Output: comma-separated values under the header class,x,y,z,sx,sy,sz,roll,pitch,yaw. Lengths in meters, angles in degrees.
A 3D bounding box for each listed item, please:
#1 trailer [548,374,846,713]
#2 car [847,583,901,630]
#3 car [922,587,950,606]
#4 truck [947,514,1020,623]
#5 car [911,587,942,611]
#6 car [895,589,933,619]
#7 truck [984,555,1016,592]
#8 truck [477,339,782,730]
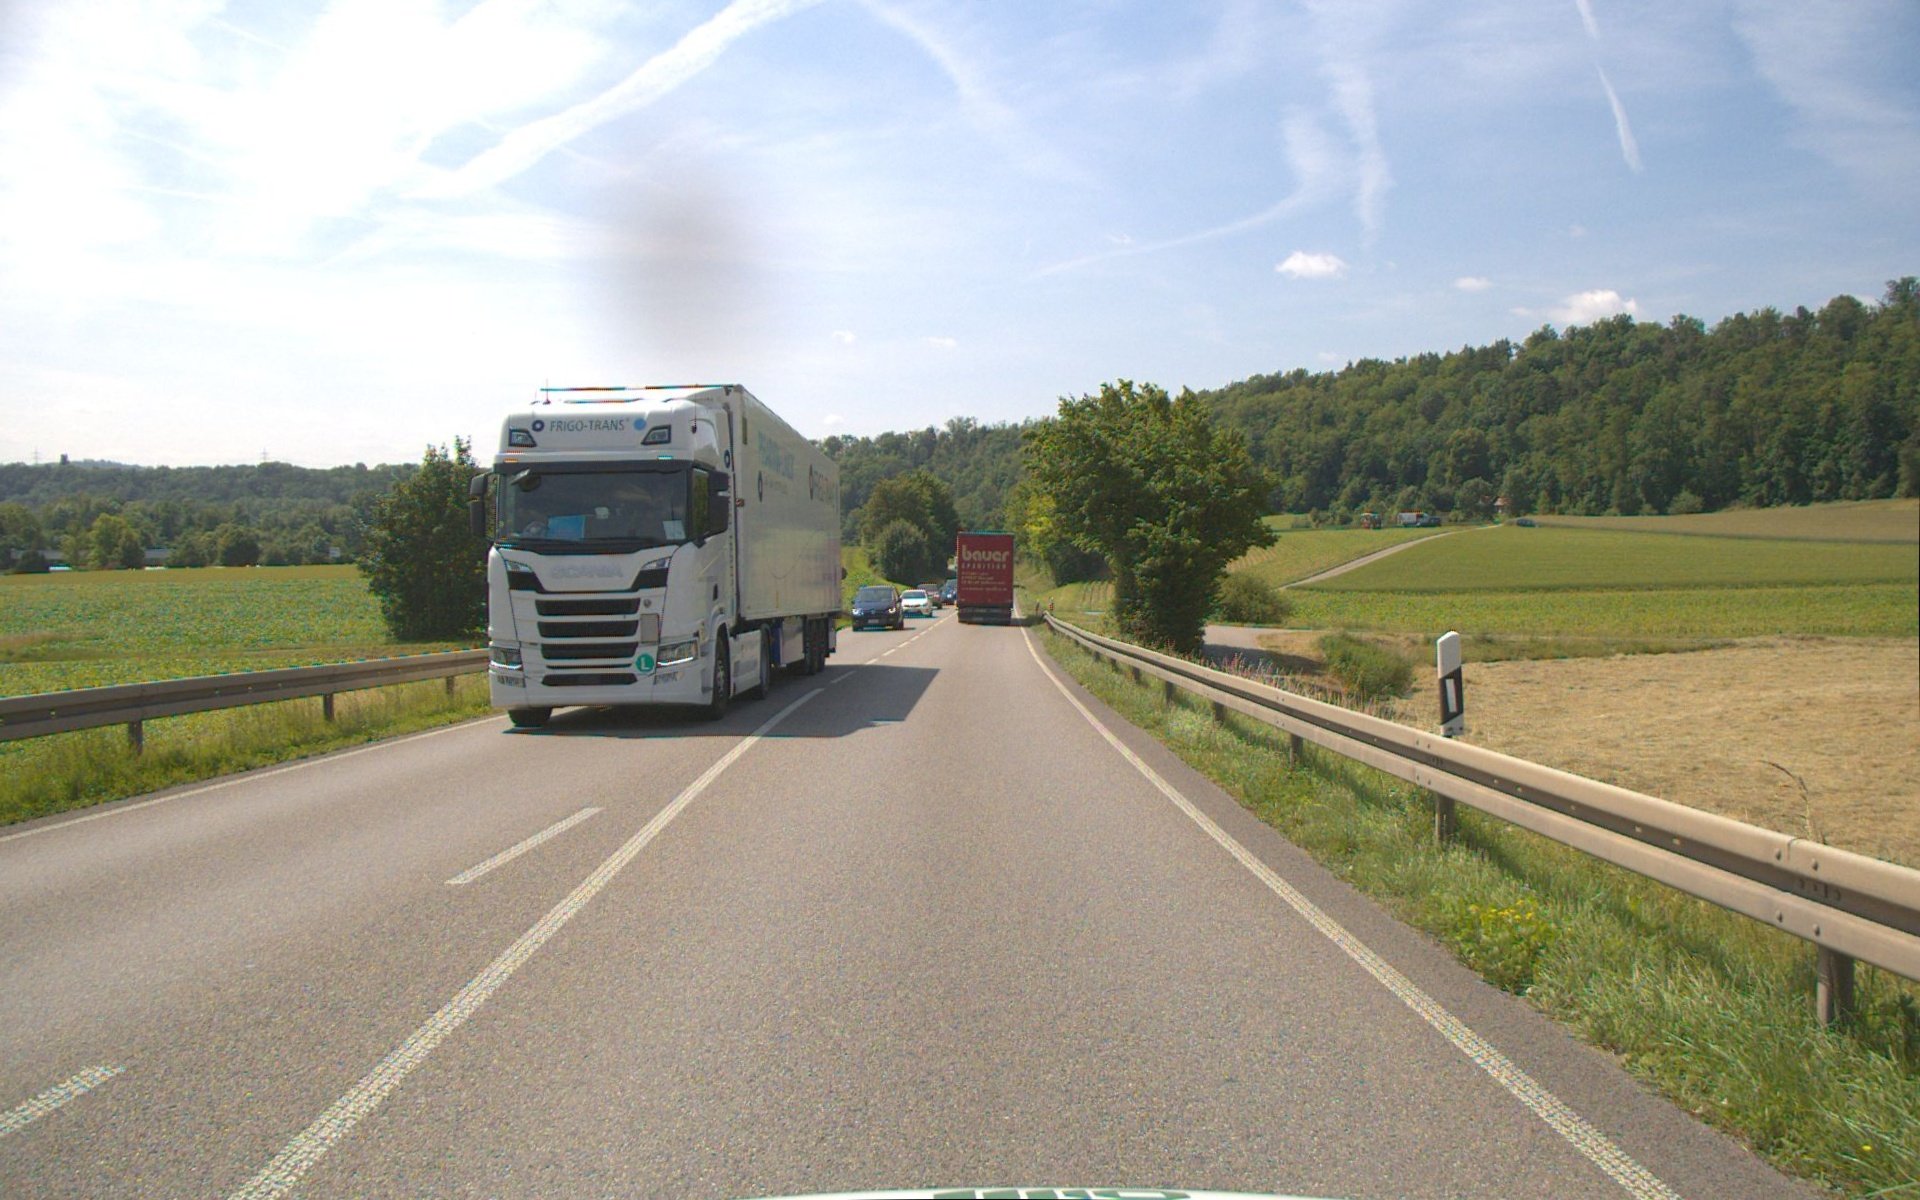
class,x,y,z,sx,sy,sz,roll,pitch,yaw
trailer,-3.777,-0.725,27.670,2.455,4.192,13.900,-1,0,1
car,-3.343,0.235,64.863,1.791,1.752,4.363,-2,0,1
car,-1.824,-0.303,126.524,1.952,1.365,4.001,-1,1,1
truck,1.114,-1.453,78.918,3.107,4.706,13.545,1,1,1
car,-2.229,-0.070,111.170,1.873,1.500,3.874,-1,1,1
car,-2.403,0.183,86.964,1.695,1.459,3.916,-2,0,1
truck,5.208,-3.400,216.578,3.825,4.445,13.293,3,0,1
truck,-3.921,-0.719,20.983,2.478,4.192,6.022,-1,0,1
